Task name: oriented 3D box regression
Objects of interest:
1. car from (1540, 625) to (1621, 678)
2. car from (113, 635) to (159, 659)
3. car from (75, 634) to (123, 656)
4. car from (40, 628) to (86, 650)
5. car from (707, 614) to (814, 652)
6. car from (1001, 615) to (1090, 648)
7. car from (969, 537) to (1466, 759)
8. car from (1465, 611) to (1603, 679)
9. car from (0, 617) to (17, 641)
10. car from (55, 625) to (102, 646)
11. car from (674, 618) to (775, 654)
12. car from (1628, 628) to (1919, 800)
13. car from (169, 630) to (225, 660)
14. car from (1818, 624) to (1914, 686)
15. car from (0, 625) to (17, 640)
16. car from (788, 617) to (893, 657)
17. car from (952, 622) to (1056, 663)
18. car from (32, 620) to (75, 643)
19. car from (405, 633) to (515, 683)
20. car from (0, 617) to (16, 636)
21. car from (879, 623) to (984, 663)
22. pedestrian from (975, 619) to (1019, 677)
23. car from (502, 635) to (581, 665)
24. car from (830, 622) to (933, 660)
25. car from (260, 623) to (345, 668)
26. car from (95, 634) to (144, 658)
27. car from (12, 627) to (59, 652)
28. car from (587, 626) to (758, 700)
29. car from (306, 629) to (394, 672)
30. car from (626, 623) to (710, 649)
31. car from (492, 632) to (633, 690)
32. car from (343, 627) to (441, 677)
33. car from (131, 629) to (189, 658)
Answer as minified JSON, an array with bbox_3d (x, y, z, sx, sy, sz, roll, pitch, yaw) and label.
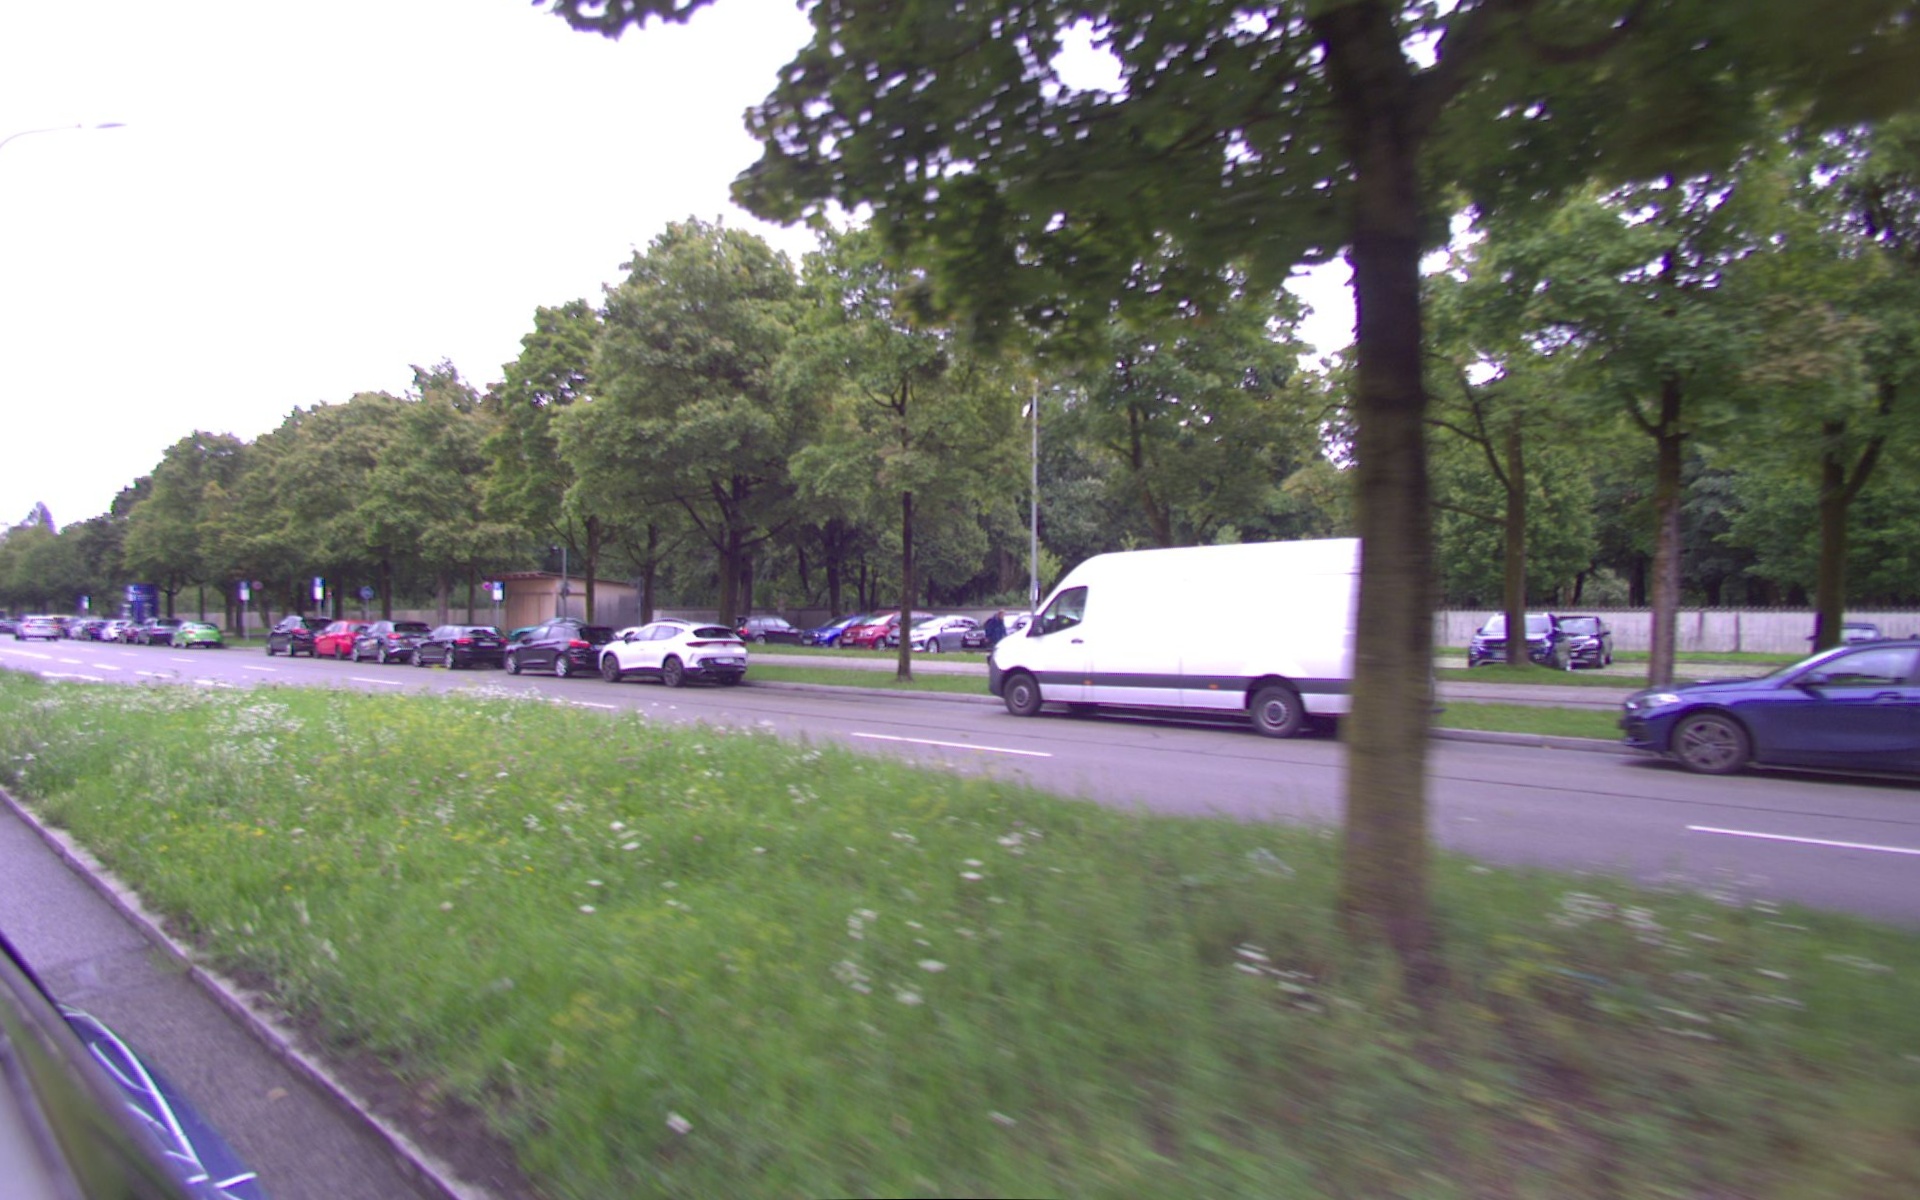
[{"bbox_3d":[20.516,1.636,33.385,1.768,1.608,3.948,-1,-1,39],"label":"car"},{"bbox_3d":[-51.383,2.942,63.082,3.685,1.433,1.632,-1,-4,42],"label":"car"},{"bbox_3d":[-59.734,3.096,70.161,3.783,1.457,1.804,-1,-4,39],"label":"car"},{"bbox_3d":[-68.705,2.968,77.508,4.037,1.628,1.982,-1,-2,39],"label":"car"},{"bbox_3d":[-8.304,1.353,42.309,1.997,1.453,4.095,-1,-1,38],"label":"car"},{"bbox_3d":[4.084,1.447,47.737,1.998,1.453,4.460,-1,-1,40],"label":"car"},{"bbox_3d":[3.516,0.685,15.322,7.101,2.664,2.117,-2,-3,41],"label":"car"},{"bbox_3d":[13.524,0.998,23.775,3.941,1.449,1.816,1,-1,-45],"label":"car"},{"bbox_3d":[-105.714,3.149,111.539,4.495,2.611,1.974,-1,-2,39],"label":"car"},{"bbox_3d":[-64.164,2.605,73.624,4.296,1.481,1.804,-1,-2,39],"label":"car"},{"bbox_3d":[-10.336,1.551,44.549,1.999,1.453,3.946,-1,-1,40],"label":"car"},{"bbox_3d":[9.312,1.089,10.110,4.248,1.502,1.839,0,0,40],"label":"car"},{"bbox_3d":[-40.577,2.367,53.808,3.999,1.511,1.623,-1,-3,42],"label":"car"},{"bbox_3d":[25.638,1.495,28.599,3.941,1.608,1.771,1,-1,-45],"label":"car"},{"bbox_3d":[-97.120,3.292,102.555,4.037,1.420,1.696,-1,-2,39],"label":"car"},{"bbox_3d":[-4.630,1.425,39.746,1.995,1.453,3.952,-1,-1,35],"label":"car"},{"bbox_3d":[1.541,1.385,34.169,1.685,1.268,3.954,-1,-1,34],"label":"car"},{"bbox_3d":[-73.360,2.568,81.882,4.529,1.784,1.839,-1,-2,39],"label":"car"},{"bbox_3d":[-15.833,1.793,31.968,4.000,1.420,1.801,-1,-3,43],"label":"car"},{"bbox_3d":[-100.488,2.779,105.994,3.997,2.029,1.973,-1,-1,40],"label":"car"},{"bbox_3d":[-0.955,1.480,35.691,1.736,1.293,3.954,-1,-1,34],"label":"car"},{"bbox_3d":[0.984,1.251,26.739,0.856,1.507,0.786,-1,-2,41],"label":"pedestrian"},{"bbox_3d":[-22.288,2.648,54.003,3.793,1.420,1.865,0,-1,-19],"label":"car"},{"bbox_3d":[-2.863,1.497,37.644,1.737,1.293,3.952,-1,-1,35],"label":"car"},{"bbox_3d":[-27.370,1.847,42.063,4.236,1.712,1.803,0,0,40],"label":"car"},{"bbox_3d":[-55.168,2.994,66.376,4.258,1.488,1.802,-1,-4,42],"label":"car"},{"bbox_3d":[-61.936,2.661,67.786,4.400,1.612,1.831,-1,-3,41],"label":"car"},{"bbox_3d":[-6.942,1.457,24.265,4.295,1.539,1.803,0,-2,40],"label":"car"},{"bbox_3d":[-23.731,1.927,39.333,3.806,1.490,1.803,0,0,40],"label":"car"},{"bbox_3d":[-16.231,1.968,56.159,4.392,1.420,1.865,0,-2,-18],"label":"car"},{"bbox_3d":[-10.934,1.627,27.778,3.994,1.459,1.804,-1,-3,38],"label":"car"},{"bbox_3d":[-20.013,1.784,35.616,4.112,1.611,1.802,-1,-1,42],"label":"car"},{"bbox_3d":[-46.940,2.532,59.344,4.453,1.643,1.803,-1,-2,41],"label":"car"}]
